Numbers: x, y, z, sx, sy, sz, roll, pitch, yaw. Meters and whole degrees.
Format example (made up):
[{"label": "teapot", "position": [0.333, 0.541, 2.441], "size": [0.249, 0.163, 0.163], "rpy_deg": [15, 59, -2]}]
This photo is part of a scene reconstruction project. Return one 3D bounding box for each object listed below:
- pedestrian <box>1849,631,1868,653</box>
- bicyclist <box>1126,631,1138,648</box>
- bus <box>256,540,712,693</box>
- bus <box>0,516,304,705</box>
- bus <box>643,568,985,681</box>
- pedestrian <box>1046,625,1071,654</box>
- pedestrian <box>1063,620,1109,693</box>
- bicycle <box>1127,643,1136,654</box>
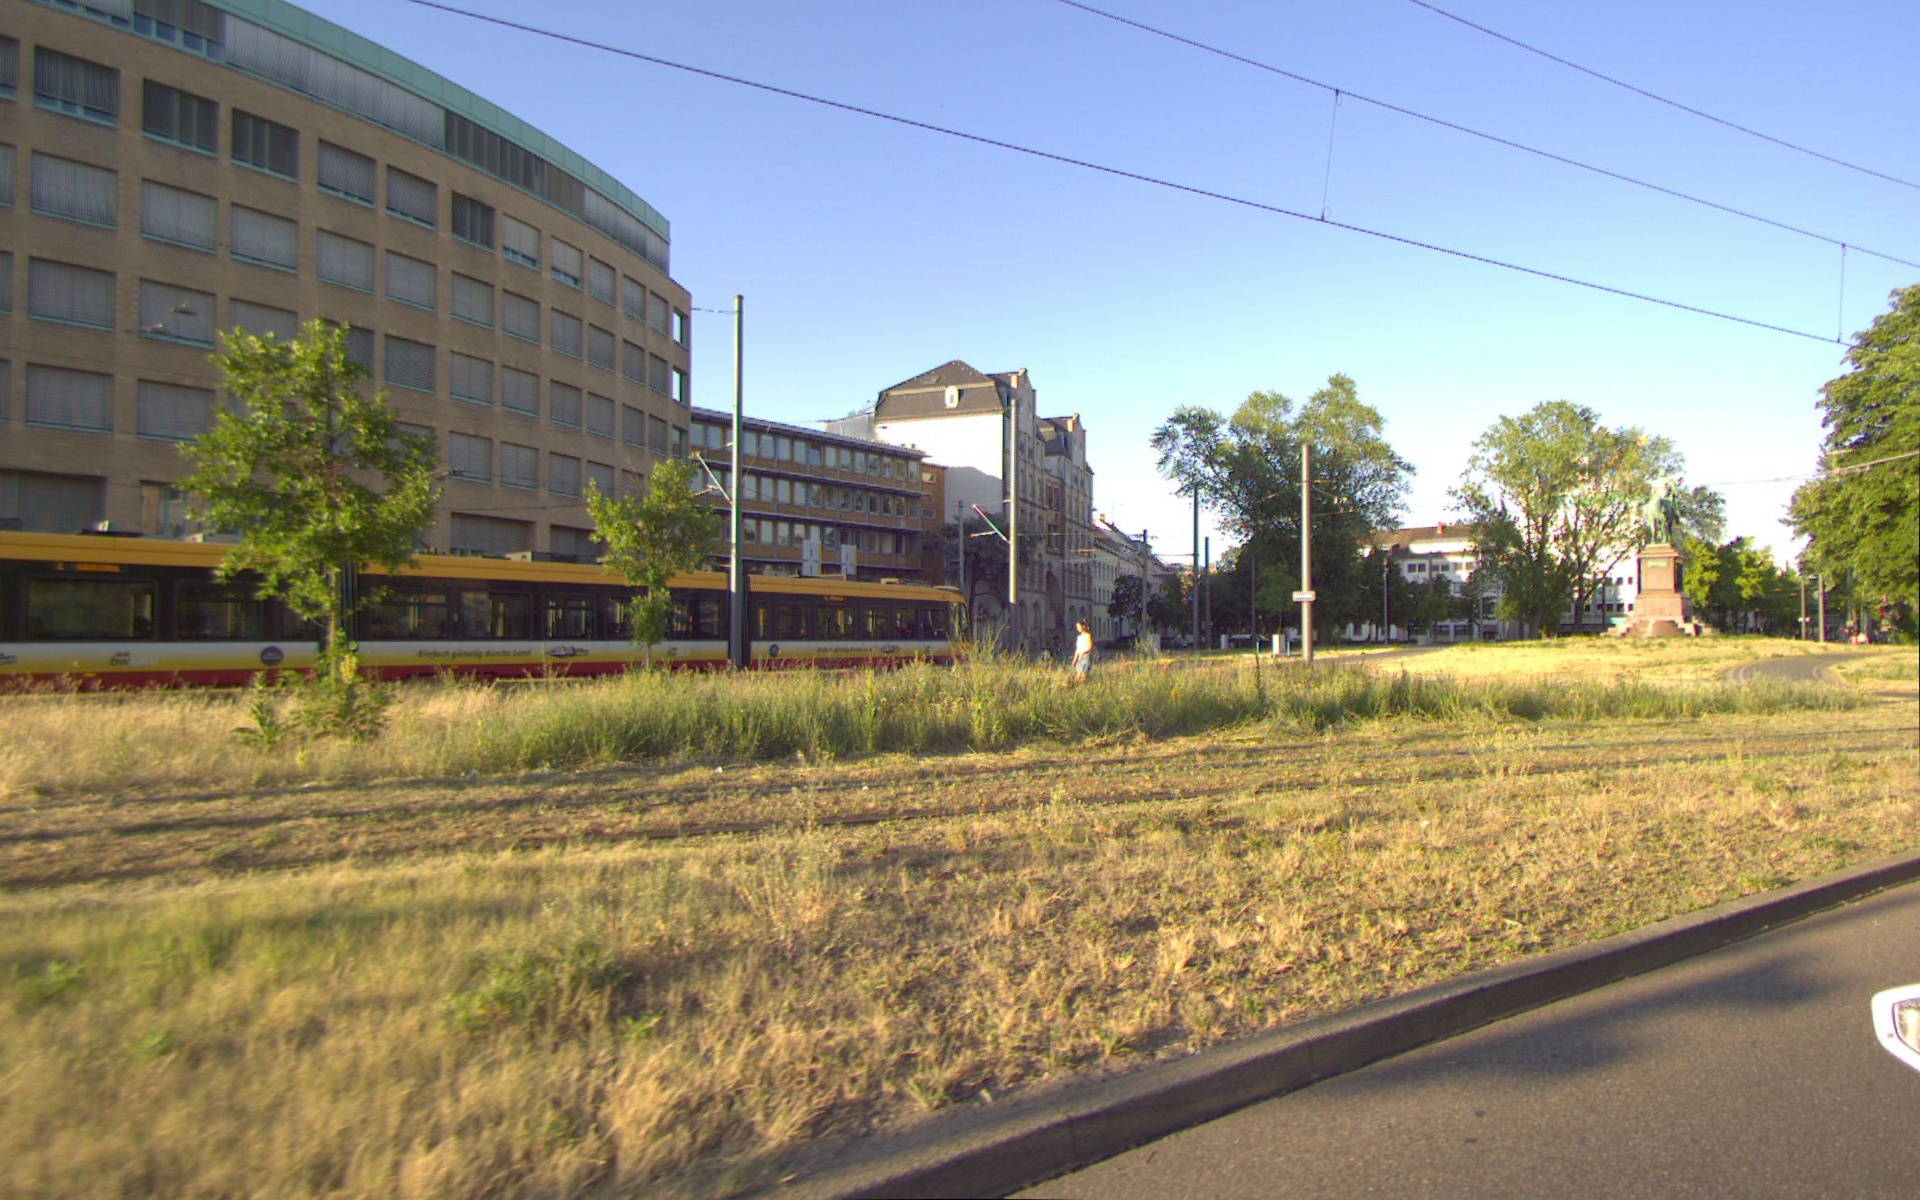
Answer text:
[{"label": "pedestrian", "position": [77.544, 3.618, 86.692], "size": [0.982, 1.864, 0.859], "rpy_deg": [-1, 0, -23]}, {"label": "bicyclist", "position": [17.160, 3.911, 100.192], "size": [0.934, 1.713, 0.898], "rpy_deg": [0, -1, 20]}, {"label": "bus", "position": [-12.348, 0.467, 27.412], "size": [3.705, 3.375, 10.684], "rpy_deg": [0, -1, 41]}, {"label": "bus", "position": [-19.880, 0.183, 18.943], "size": [3.708, 3.501, 12.064], "rpy_deg": [0, -1, 43]}, {"label": "bus", "position": [-4.651, 0.861, 36.904], "size": [3.703, 3.407, 13.654], "rpy_deg": [0, -1, 39]}, {"label": "pedestrian", "position": [7.254, 2.888, 73.719], "size": [1.044, 2.122, 1.625], "rpy_deg": [0, -1, 42]}, {"label": "pedestrian", "position": [2.592, 1.147, 20.681], "size": [0.691, 1.478, 0.667], "rpy_deg": [1, -1, -27]}, {"label": "bicycle", "position": [17.064, 4.848, 99.954], "size": [0.463, 1.024, 2.201], "rpy_deg": [0, -1, 20]}]
